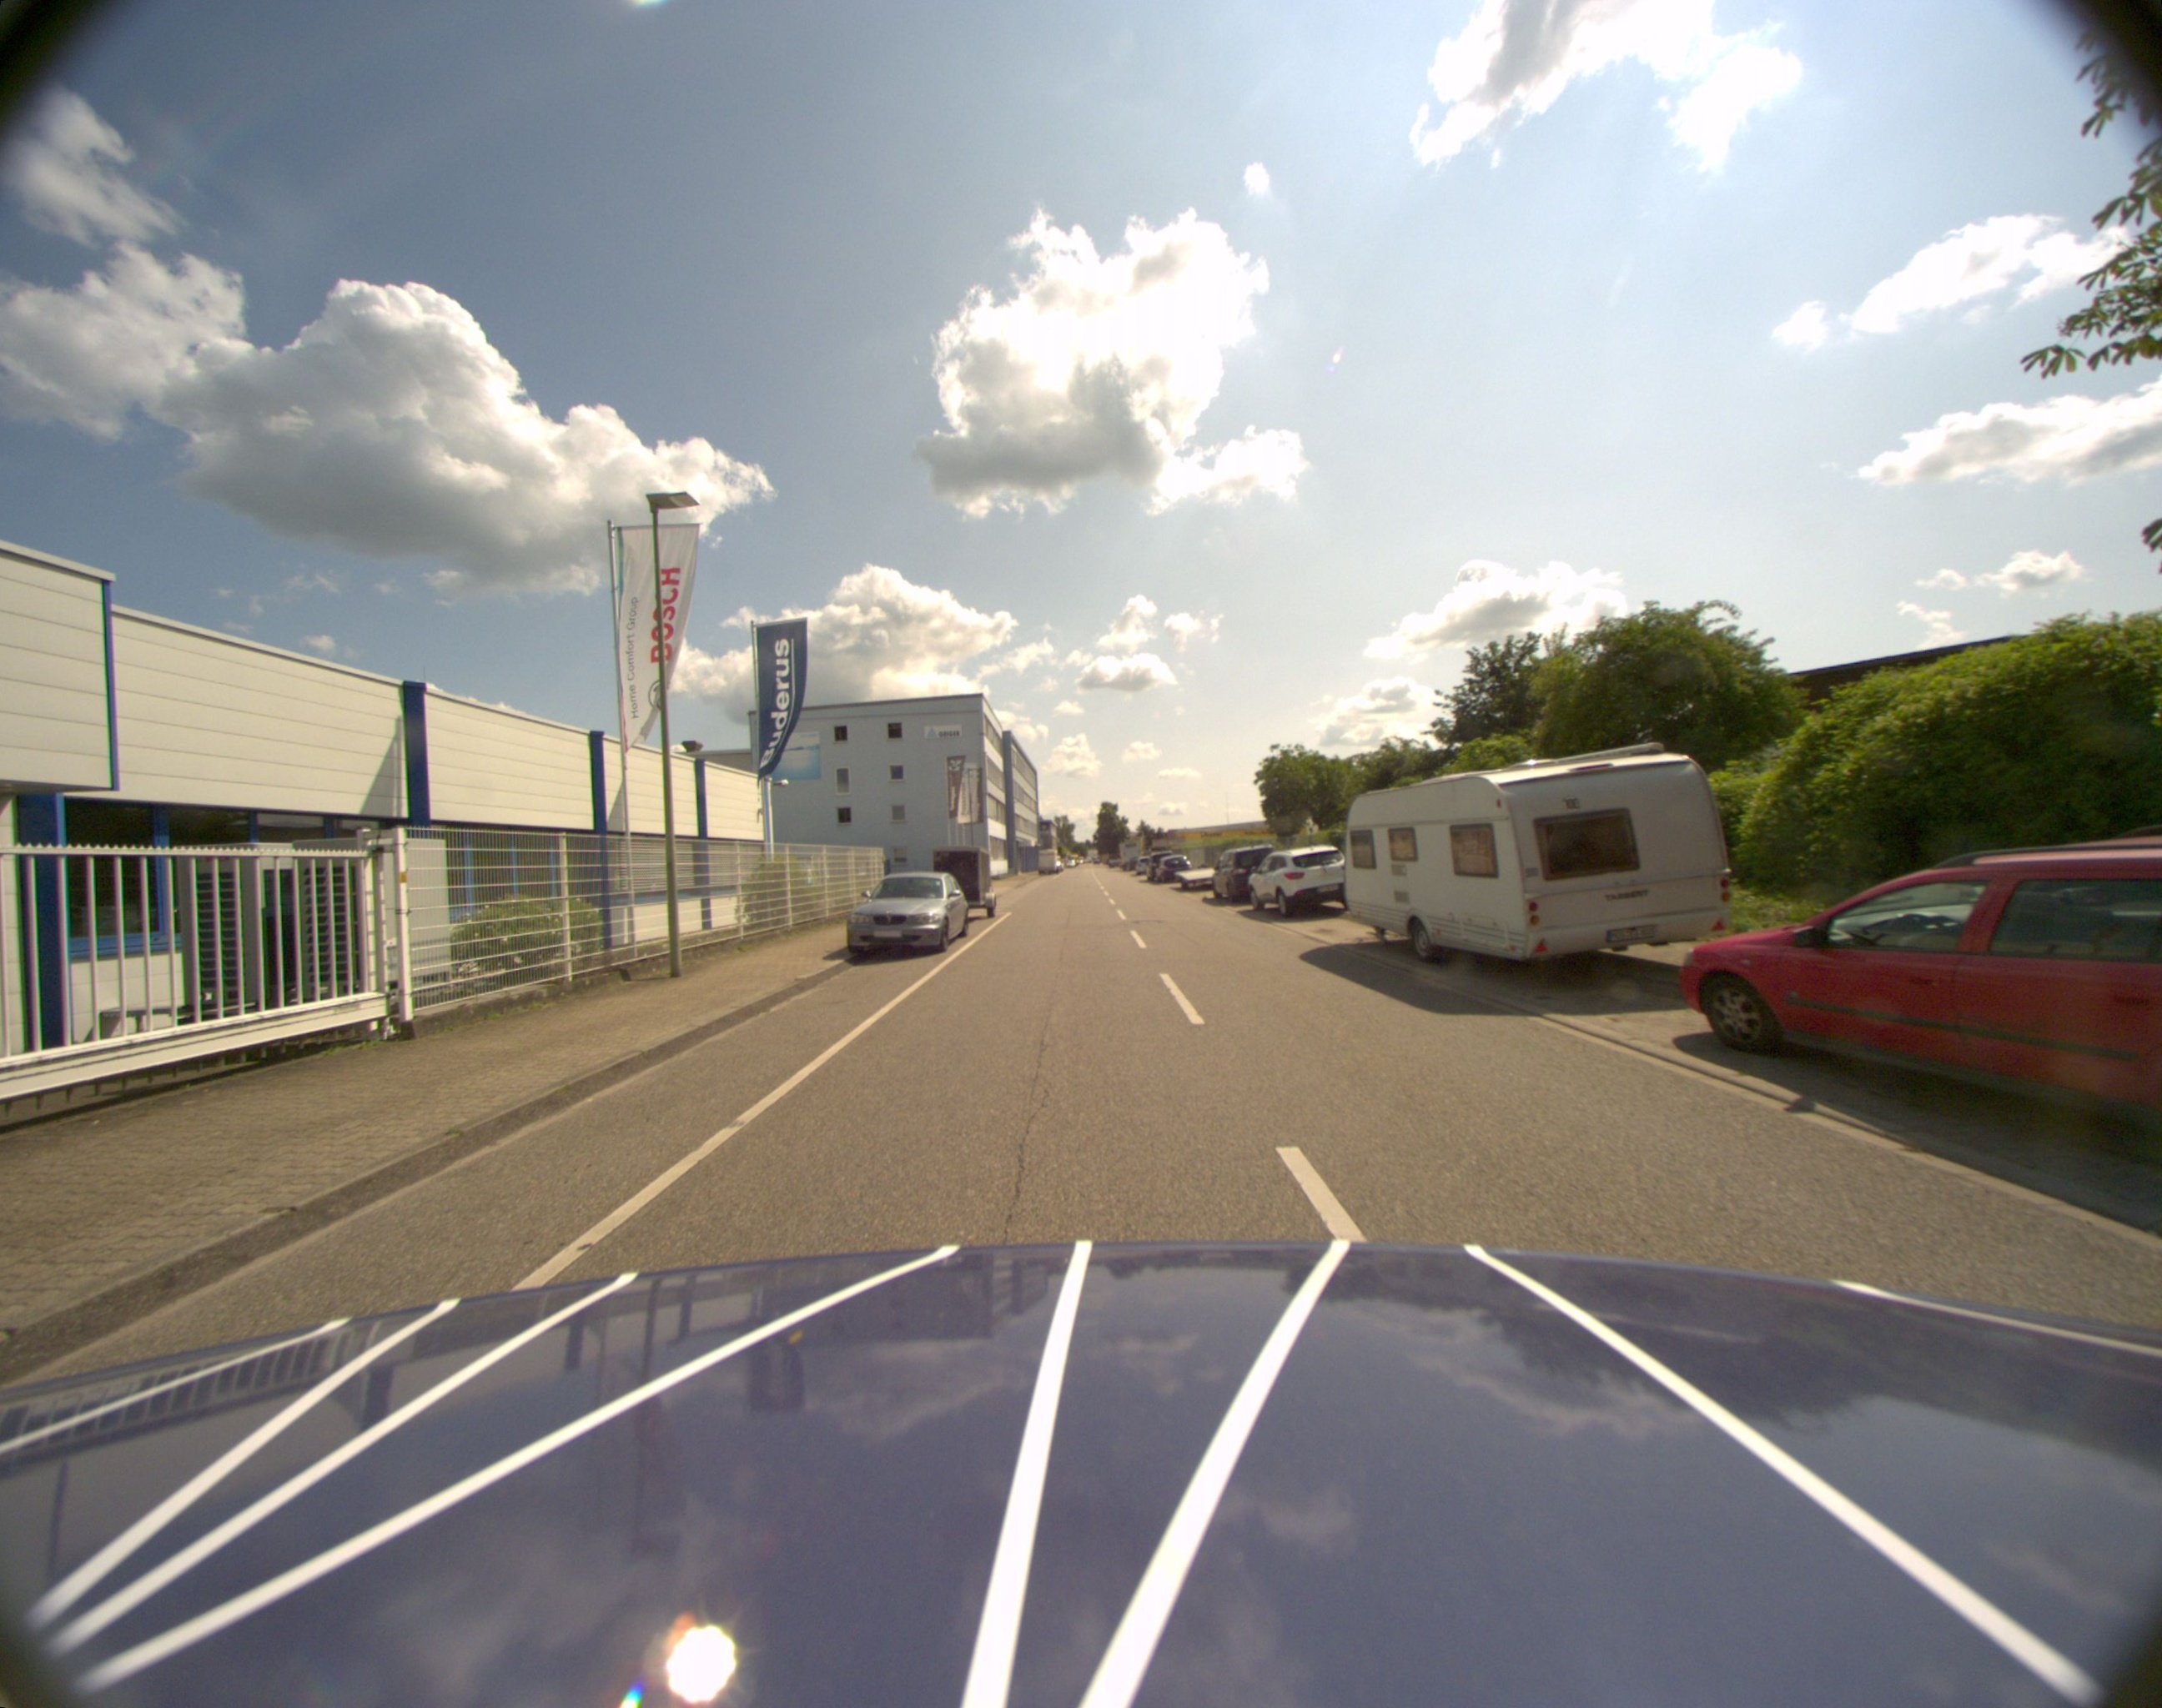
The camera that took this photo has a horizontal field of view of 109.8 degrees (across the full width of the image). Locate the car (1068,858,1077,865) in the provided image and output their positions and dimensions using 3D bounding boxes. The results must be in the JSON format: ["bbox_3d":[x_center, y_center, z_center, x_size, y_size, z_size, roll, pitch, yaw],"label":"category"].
[{"bbox_3d":[-1.764,1.563,160.501,1.657,1.324,4.000,-3,0,0],"label":"car"}]

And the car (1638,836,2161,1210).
[{"bbox_3d":[5.529,0.740,4.184,1.629,1.523,4.268,-6,0,-1],"label":"car"}]

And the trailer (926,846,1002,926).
[{"bbox_3d":[-3.243,0.852,21.515,1.605,2.025,2.740,-3,0,0],"label":"trailer"}]

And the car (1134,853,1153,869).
[{"bbox_3d":[6.784,0.743,82.438,1.623,1.421,3.827,-9,0,1],"label":"car"}]

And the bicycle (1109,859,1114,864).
[{"bbox_3d":[4.204,1.015,105.247,0.589,0.737,2.125,-3,0,3],"label":"bicycle"}]

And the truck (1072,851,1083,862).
[{"bbox_3d":[-0.864,0.578,194.470,2.402,2.787,6.375,-2,0,2],"label":"truck"}]

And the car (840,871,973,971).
[{"bbox_3d":[-3.203,1.161,14.760,1.576,1.498,4.132,-3,0,0],"label":"car"}]

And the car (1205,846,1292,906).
[{"bbox_3d":[5.581,0.678,25.968,1.832,1.783,4.735,-2,0,0],"label":"car"}]

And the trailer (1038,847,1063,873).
[{"bbox_3d":[-3.050,0.584,77.171,1.873,2.538,5.073,-2,0,3],"label":"trailer"}]

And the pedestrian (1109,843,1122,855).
[{"bbox_3d":[6.038,-0.879,133.492,1.998,2.002,4.000,-4,0,2],"label":"pedestrian"}]

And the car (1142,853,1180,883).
[{"bbox_3d":[5.054,0.842,48.528,1.806,1.739,4.713,-2,0,0],"label":"car"}]

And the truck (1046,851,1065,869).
[{"bbox_3d":[-3.024,0.710,89.622,1.969,2.023,4.734,-3,0,0],"label":"truck"}]

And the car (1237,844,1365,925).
[{"bbox_3d":[5.544,0.716,19.788,1.688,1.682,4.443,-7,0,-3],"label":"car"}]

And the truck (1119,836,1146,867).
[{"bbox_3d":[6.018,-0.248,89.253,2.256,3.342,6.907,-7,0,0],"label":"truck"}]

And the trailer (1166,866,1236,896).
[{"bbox_3d":[5.473,1.185,35.657,2.276,0.878,7.132,-7,0,2],"label":"trailer"}]

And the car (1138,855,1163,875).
[{"bbox_3d":[5.634,0.854,62.272,1.619,1.474,3.709,-5,0,0],"label":"car"}]

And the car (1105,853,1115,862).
[{"bbox_3d":[7.729,0.974,200.122,1.997,2.289,4.003,-3,0,10],"label":"car"}]

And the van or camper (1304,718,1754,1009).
[{"bbox_3d":[5.660,0.099,11.289,2.268,2.787,6.832,-6,0,-1],"label":"van or camper"}]

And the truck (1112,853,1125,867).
[{"bbox_3d":[6.680,1.054,134.280,2.133,2.225,7.351,-5,0,3],"label":"truck"}]

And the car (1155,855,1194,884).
[{"bbox_3d":[5.345,0.878,43.891,1.581,1.504,4.200,-3,0,-2],"label":"car"}]

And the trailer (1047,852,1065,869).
[{"bbox_3d":[-3.014,0.816,93.129,1.978,1.959,5.766,-2,0,0],"label":"trailer"}]
